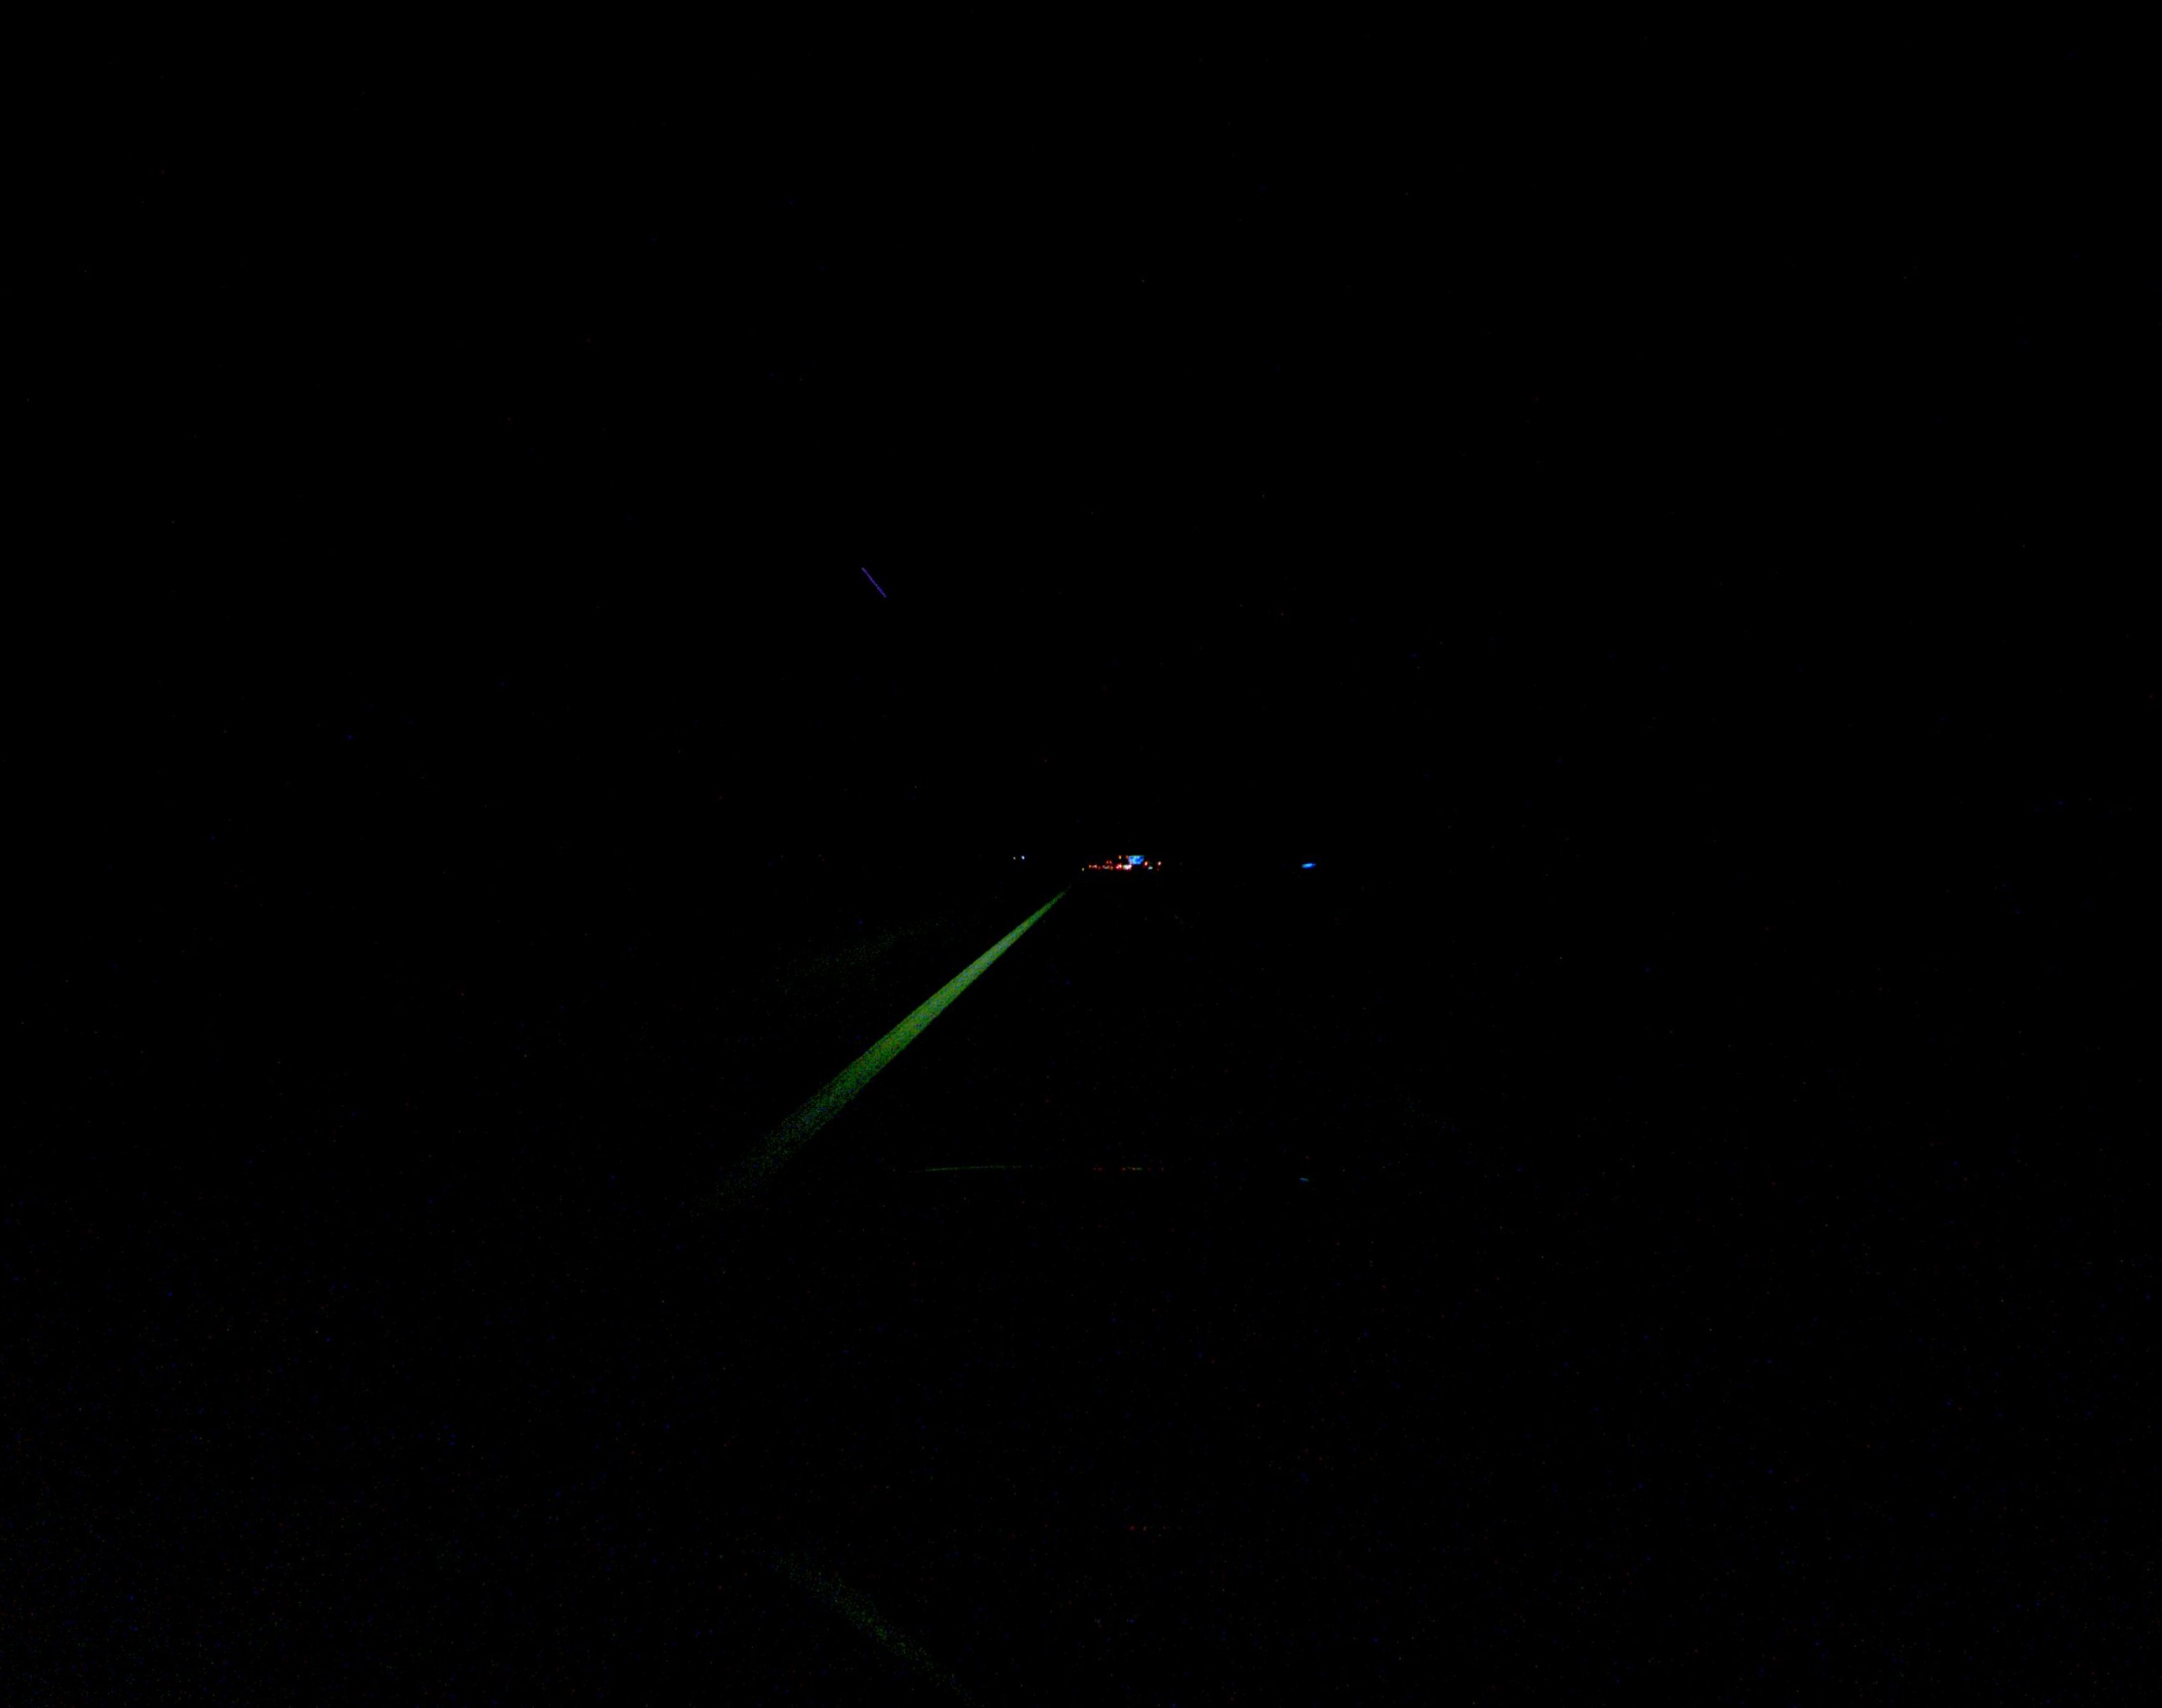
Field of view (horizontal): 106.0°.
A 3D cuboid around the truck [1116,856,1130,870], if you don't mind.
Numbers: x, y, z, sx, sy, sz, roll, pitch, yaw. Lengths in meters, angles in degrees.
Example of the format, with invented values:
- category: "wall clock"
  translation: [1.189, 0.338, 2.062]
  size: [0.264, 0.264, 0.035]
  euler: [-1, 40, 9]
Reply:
- category: "truck"
  translation: [10.168, 2.070, 197.927]
  size: [3.033, 3.325, 10.143]
  euler: [0, 0, 1]

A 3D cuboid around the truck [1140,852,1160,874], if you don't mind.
- category: "truck"
  translation: [9.376, 1.310, 111.014]
  size: [2.070, 2.691, 7.303]
  euler: [0, -3, -1]

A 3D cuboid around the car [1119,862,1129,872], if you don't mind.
- category: "car"
  translation: [6.476, 1.911, 122.386]
  size: [1.341, 1.387, 3.502]
  euler: [0, 0, 1]

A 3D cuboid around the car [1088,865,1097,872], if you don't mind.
- category: "car"
  translation: [2.648, 3.245, 186.538]
  size: [1.814, 1.466, 4.248]
  euler: [0, 0, 1]

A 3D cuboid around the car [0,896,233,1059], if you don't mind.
- category: "car"
  translation: [-11.394, 1.294, 7.746]
  size: [1.744, 1.478, 4.583]
  euler: [-3, 0, 1]

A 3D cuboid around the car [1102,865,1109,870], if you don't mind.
- category: "car"
  translation: [6.753, 3.717, 225.564]
  size: [1.814, 1.466, 4.248]
  euler: [0, 0, 1]

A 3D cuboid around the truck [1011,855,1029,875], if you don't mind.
- category: "truck"
  translation: [-13.759, 2.450, 185.756]
  size: [3.105, 4.203, 16.966]
  euler: [-3, 0, -2]
